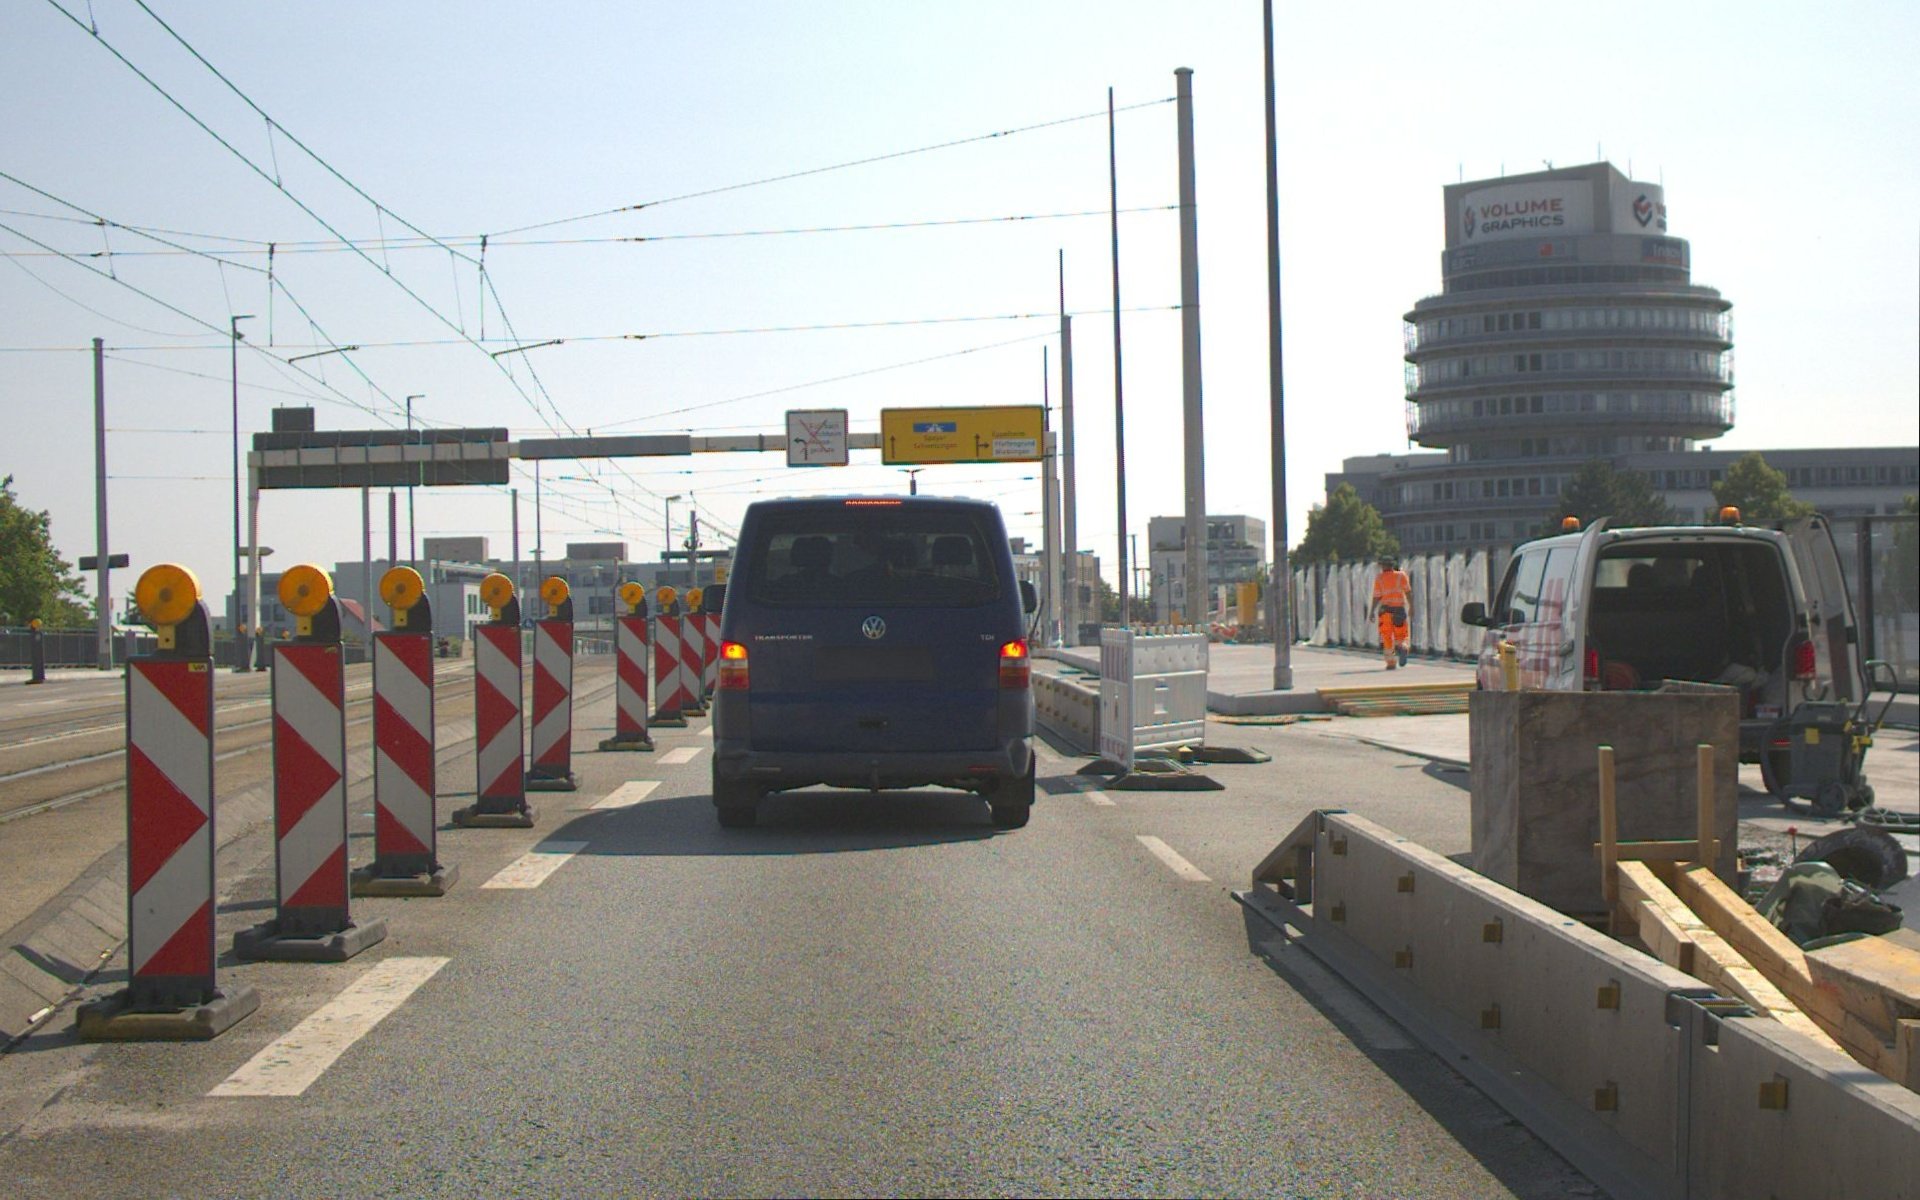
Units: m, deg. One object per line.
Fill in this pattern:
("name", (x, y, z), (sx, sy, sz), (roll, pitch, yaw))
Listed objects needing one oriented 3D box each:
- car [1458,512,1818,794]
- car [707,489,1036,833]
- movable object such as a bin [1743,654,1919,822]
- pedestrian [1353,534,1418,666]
("car", (5.236, 0.390, 27.203), (1.878, 2.026, 4.891), (0, 0, 0))
("car", (-0.570, 0.318, 21.335), (1.815, 1.899, 4.055), (-1, 1, -2))
("movable object such as a bin", (5.907, 0.908, 23.061), (0.889, 1.070, 0.941), (0, 0, -45))
("pedestrian", (6.384, 0.003, 51.656), (0.782, 1.928, 0.799), (-2, -1, -1))
